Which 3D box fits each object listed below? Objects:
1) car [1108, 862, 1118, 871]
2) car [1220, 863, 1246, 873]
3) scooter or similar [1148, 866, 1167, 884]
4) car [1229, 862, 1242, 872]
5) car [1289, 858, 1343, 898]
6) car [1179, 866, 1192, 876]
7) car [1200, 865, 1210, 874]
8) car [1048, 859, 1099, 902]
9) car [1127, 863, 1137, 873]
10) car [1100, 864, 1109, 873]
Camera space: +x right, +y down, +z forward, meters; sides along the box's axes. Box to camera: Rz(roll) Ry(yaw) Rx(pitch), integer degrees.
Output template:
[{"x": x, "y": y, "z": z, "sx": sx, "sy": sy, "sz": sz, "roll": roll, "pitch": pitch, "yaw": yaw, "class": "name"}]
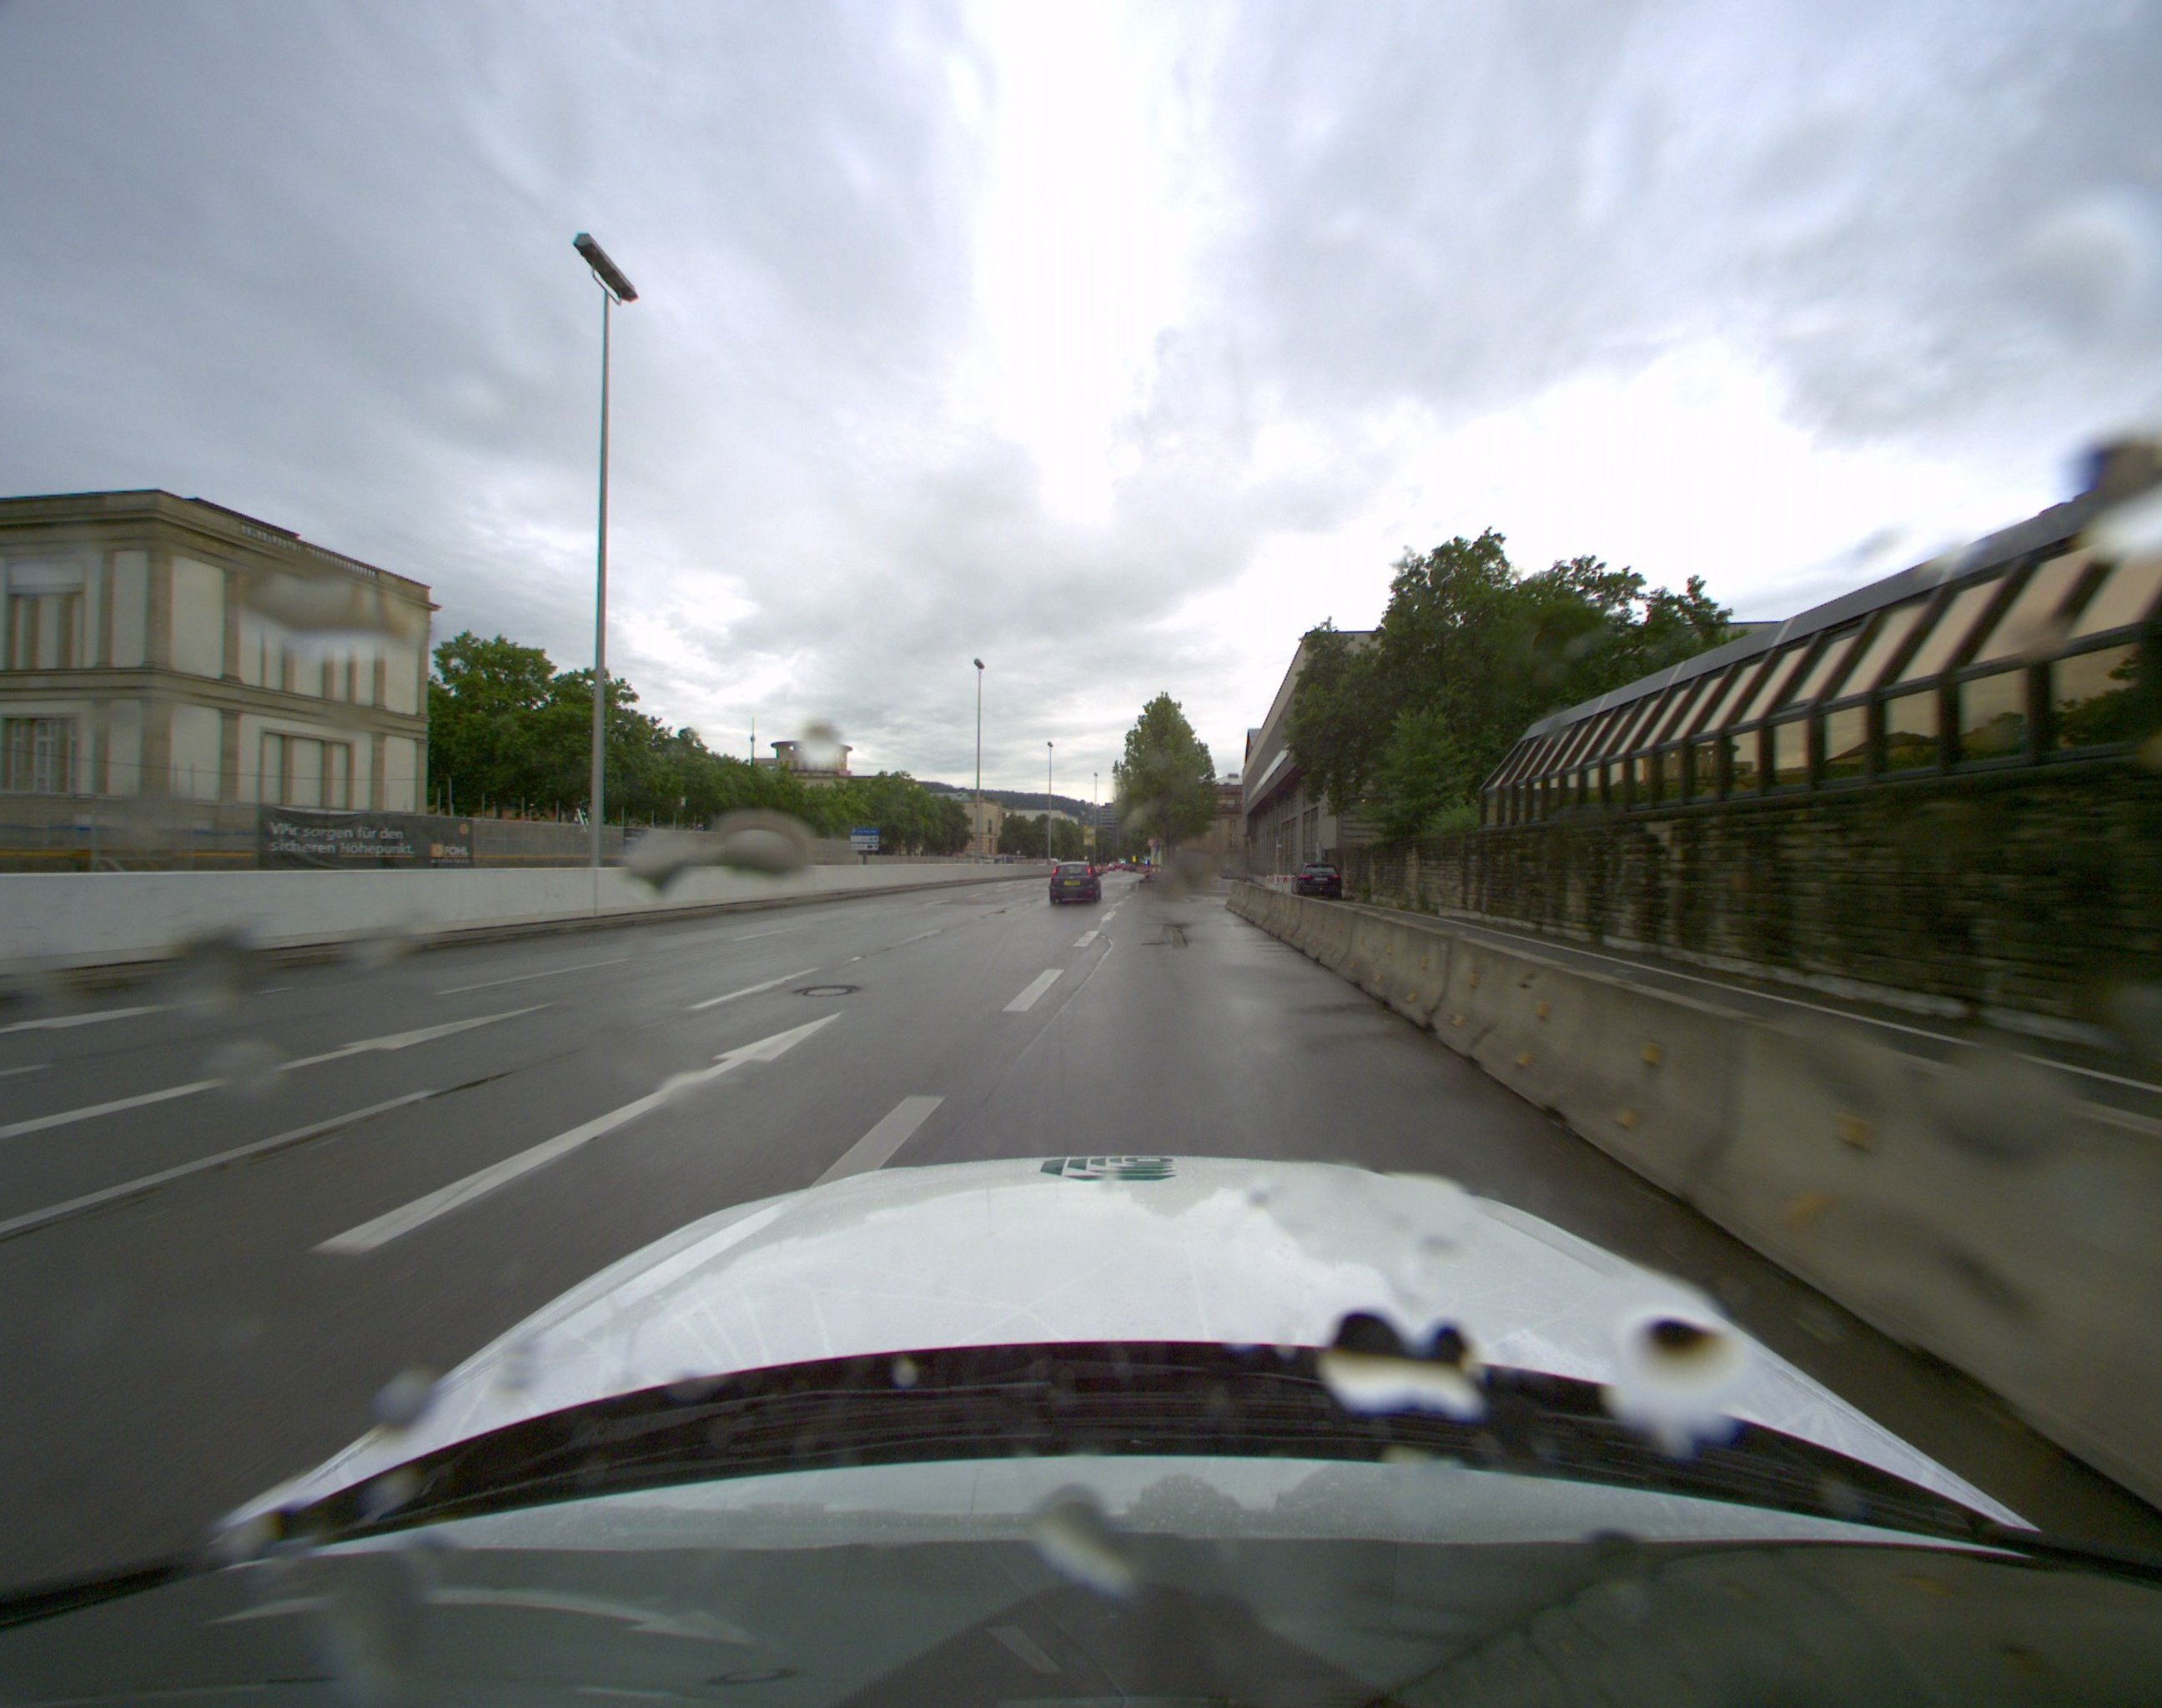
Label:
[{"x": 7.168, "y": 2.801, "z": 183.242, "sx": 1.986, "sy": 2.014, "sz": 4.000, "roll": 3, "pitch": -2, "yaw": 1, "class": "car"}, {"x": 24.984, "y": 2.364, "z": 134.015, "sx": 3.966, "sy": 1.560, "sz": 1.936, "roll": -1, "pitch": -4, "yaw": 6, "class": "car"}, {"x": 5.733, "y": 1.571, "z": 60.683, "sx": 1.348, "sy": 1.286, "sz": 0.620, "roll": 2, "pitch": -2, "yaw": 7, "class": "scooter or similar"}, {"x": 26.883, "y": 2.292, "z": 141.836, "sx": 1.983, "sy": 1.760, "sz": 5.105, "roll": 0, "pitch": -2, "yaw": 7, "class": "car"}, {"x": 9.848, "y": 0.967, "z": 34.395, "sx": 1.793, "sy": 1.552, "sz": 4.338, "roll": 1, "pitch": 0, "yaw": 11, "class": "car"}, {"x": 19.229, "y": 3.112, "z": 149.543, "sx": 1.981, "sy": 1.708, "sz": 4.012, "roll": 2, "pitch": 0, "yaw": 11, "class": "car"}, {"x": 25.903, "y": 3.262, "z": 170.266, "sx": 1.981, "sy": 1.709, "sz": 4.011, "roll": 2, "pitch": -2, "yaw": 11, "class": "car"}, {"x": -0.248, "y": 0.900, "z": 29.241, "sx": 1.665, "sy": 1.427, "sz": 3.757, "roll": 1, "pitch": 0, "yaw": 0, "class": "car"}, {"x": 10.966, "y": 3.009, "z": 174.610, "sx": 1.984, "sy": 2.013, "sz": 4.006, "roll": 2, "pitch": 0, "yaw": 6, "class": "car"}, {"x": 3.791, "y": 2.385, "z": 130.930, "sx": 1.380, "sy": 1.386, "sz": 3.068, "roll": 0, "pitch": -1, "yaw": 2, "class": "car"}]
